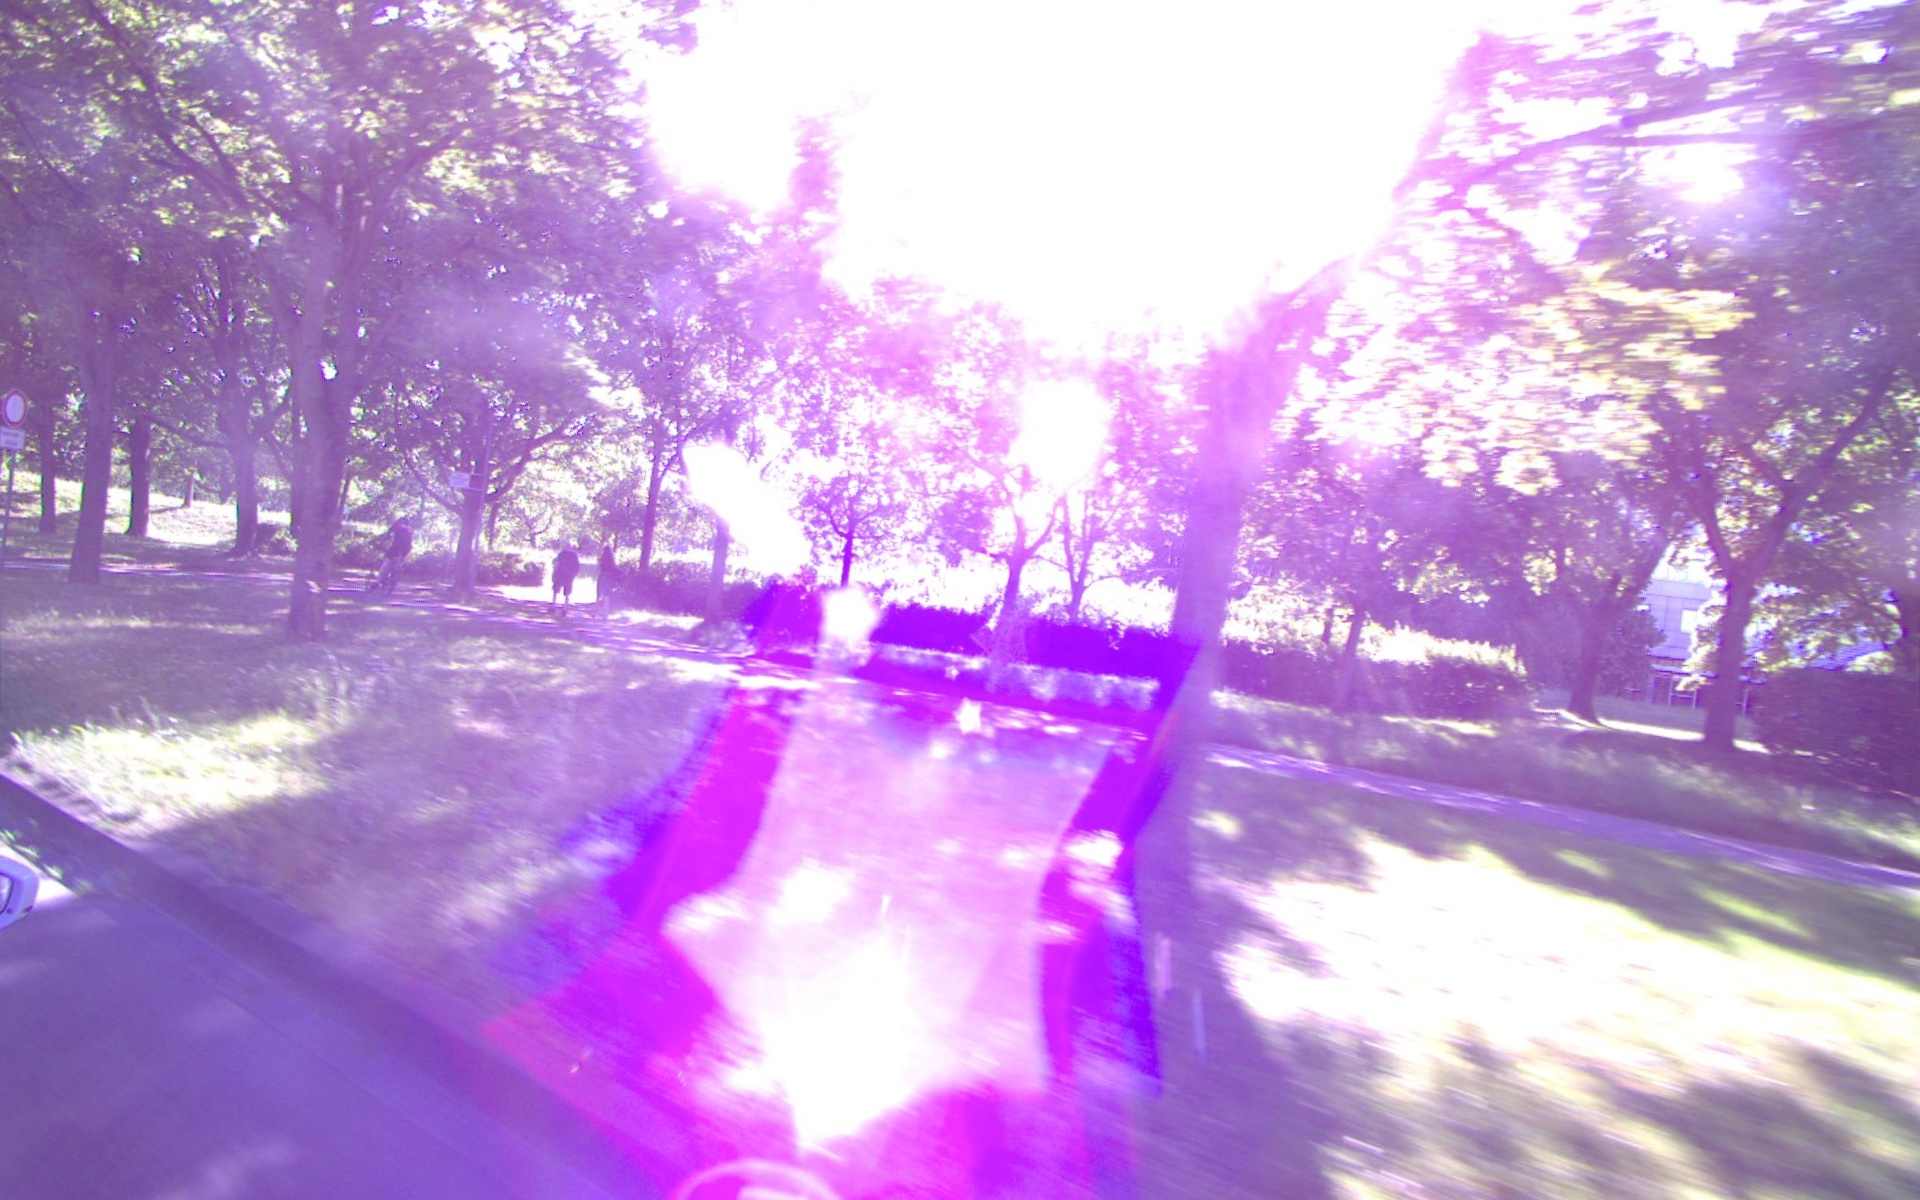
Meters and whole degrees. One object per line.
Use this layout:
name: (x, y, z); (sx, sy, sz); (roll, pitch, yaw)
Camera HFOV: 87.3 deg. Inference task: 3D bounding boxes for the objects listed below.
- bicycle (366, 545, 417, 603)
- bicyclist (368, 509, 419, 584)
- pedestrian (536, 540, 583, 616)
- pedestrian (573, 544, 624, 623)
bicycle: (-12.025, -0.570, 21.236); (0.788, 1.060, 2.125); (7, 0, -31)
bicyclist: (-11.957, -1.128, 21.234); (0.784, 1.468, 0.838); (7, 0, -31)
pedestrian: (-9.206, -0.517, 23.112); (0.832, 1.642, 0.545); (7, 1, 43)
pedestrian: (-8.428, -0.383, 23.459); (0.832, 1.712, 0.635); (7, 1, 43)
